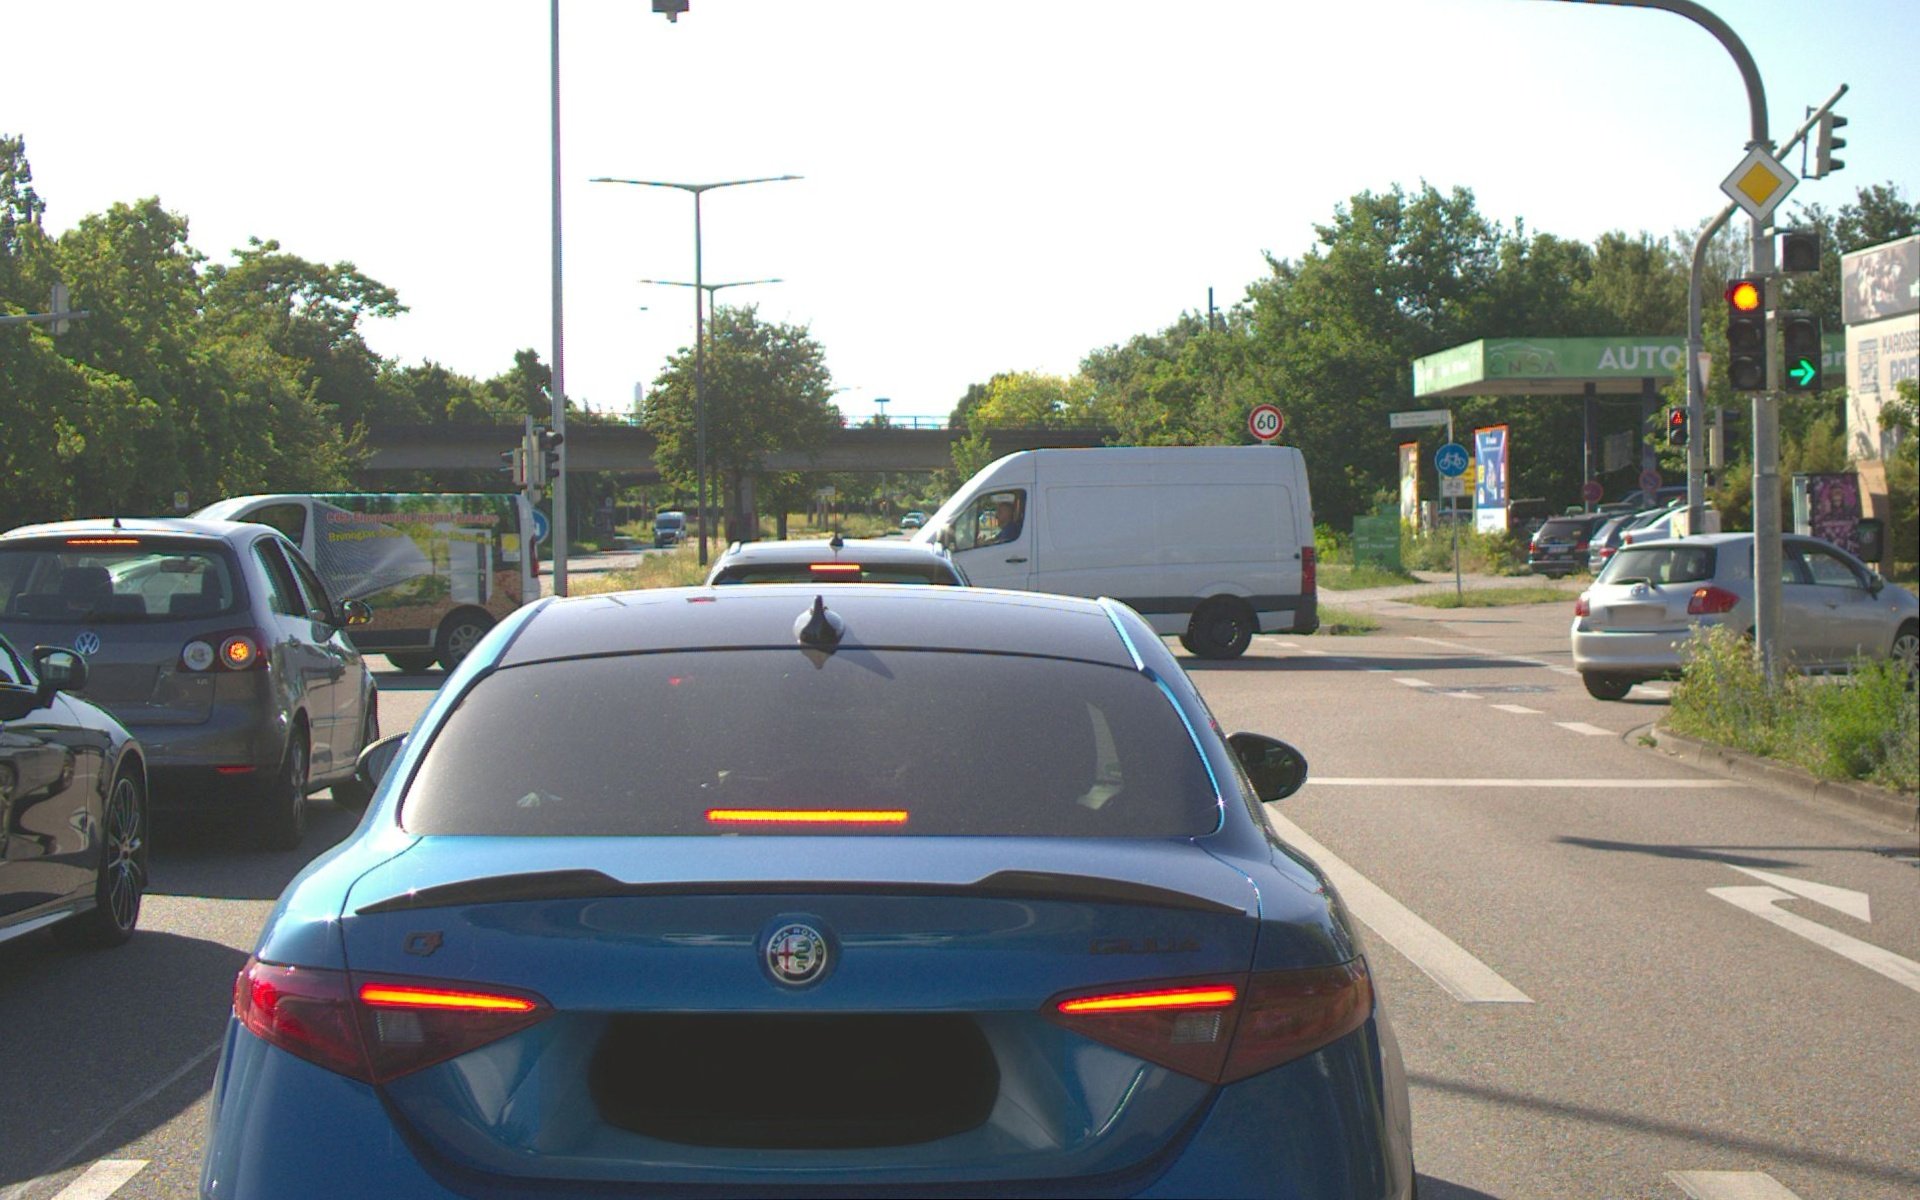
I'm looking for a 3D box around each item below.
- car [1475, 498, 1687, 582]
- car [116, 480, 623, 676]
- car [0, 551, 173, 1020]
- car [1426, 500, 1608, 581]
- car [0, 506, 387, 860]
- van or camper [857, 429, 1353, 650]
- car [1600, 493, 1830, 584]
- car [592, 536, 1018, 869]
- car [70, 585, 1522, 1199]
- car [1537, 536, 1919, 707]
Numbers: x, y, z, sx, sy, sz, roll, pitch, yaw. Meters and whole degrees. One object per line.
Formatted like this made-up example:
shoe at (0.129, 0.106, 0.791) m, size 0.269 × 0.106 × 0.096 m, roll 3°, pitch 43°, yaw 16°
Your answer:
car at (12.812, -1.244, 70.956) m, size 3.986 × 1.700 × 1.696 m, roll -1°, pitch 1°, yaw -19°
car at (-6.358, -0.275, 37.118) m, size 5.009 × 2.007 × 2.000 m, roll -1°, pitch 1°, yaw -27°
car at (-3.811, 0.573, 10.633) m, size 1.768 × 1.409 × 4.461 m, roll 0°, pitch 1°, yaw -1°
car at (12.011, -1.281, 74.147) m, size 3.483 × 1.700 × 1.696 m, roll -1°, pitch 1°, yaw -16°
car at (-4.053, 0.335, 17.485) m, size 1.648 × 1.593 × 3.932 m, roll 0°, pitch 1°, yaw -1°
van or camper at (1.741, -0.755, 42.497) m, size 5.936 × 2.641 × 2.000 m, roll 0°, pitch 1°, yaw -4°
car at (14.503, -1.191, 66.101) m, size 3.986 × 1.700 × 1.696 m, roll -1°, pitch 1°, yaw -16°
car at (-0.704, 0.414, 17.071) m, size 1.866 × 1.445 × 3.932 m, roll 0°, pitch 1°, yaw -1°
car at (-0.234, 0.699, 6.396) m, size 1.866 × 1.380 × 3.932 m, roll 0°, pitch 1°, yaw -1°
car at (7.280, 0.150, 31.817) m, size 3.980 × 1.472 × 1.740 m, roll -1°, pitch 2°, yaw -43°
